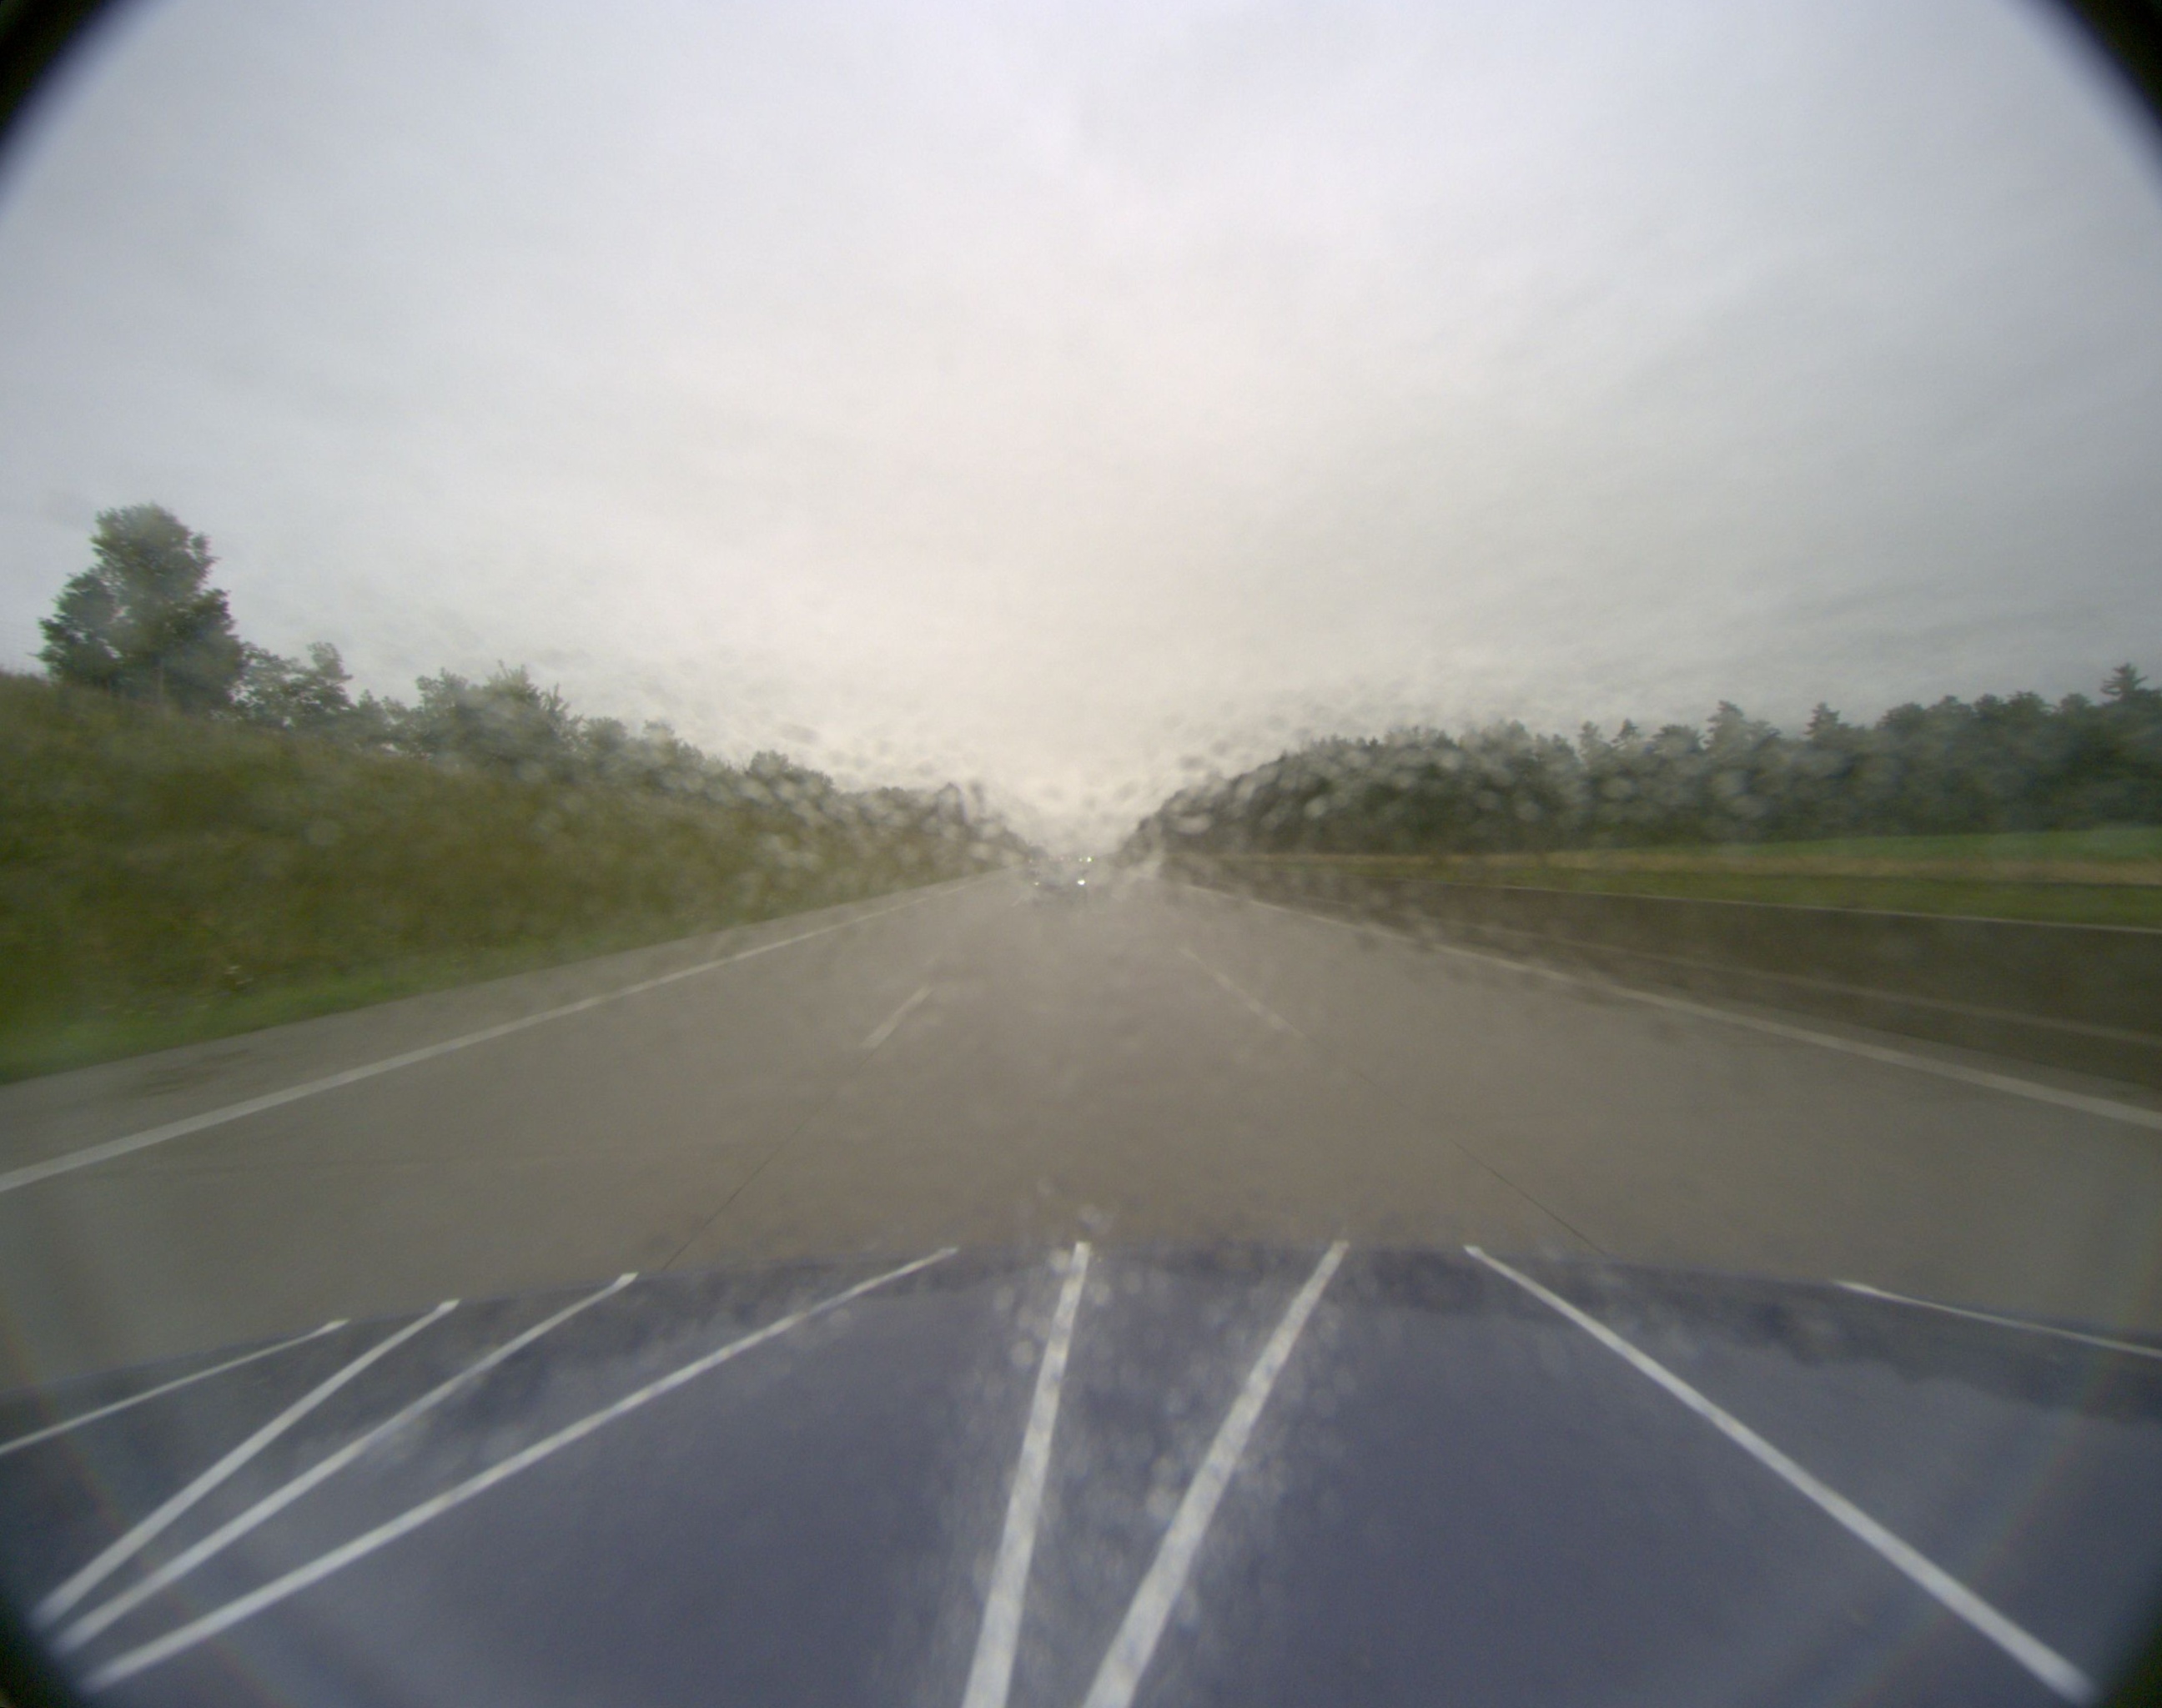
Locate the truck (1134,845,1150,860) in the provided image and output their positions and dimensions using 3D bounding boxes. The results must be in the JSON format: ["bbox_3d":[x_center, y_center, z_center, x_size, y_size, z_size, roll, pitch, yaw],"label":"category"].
[{"bbox_3d":[16.194,-0.333,202.517,2.910,3.833,12.449,-1,-1,-1],"label":"truck"}]

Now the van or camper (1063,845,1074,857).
[{"bbox_3d":[-2.955,-0.687,177.643,2.233,2.537,7.948,2,1,1],"label":"van or camper"}]

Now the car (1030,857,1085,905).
[{"bbox_3d":[-0.760,0.862,26.491,1.734,1.450,4.672,-1,0,0],"label":"car"}]

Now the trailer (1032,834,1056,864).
[{"bbox_3d":[-5.733,-0.648,120.233,2.713,4.353,15.205,-3,-1,0],"label":"trailer"}]

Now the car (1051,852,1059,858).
[{"bbox_3d":[-7.935,0.410,234.660,1.998,1.575,5.954,-3,-1,0],"label":"car"}]

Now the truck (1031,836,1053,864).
[{"bbox_3d":[-5.752,-0.514,112.669,2.643,3.930,5.686,-3,0,0],"label":"truck"}]
